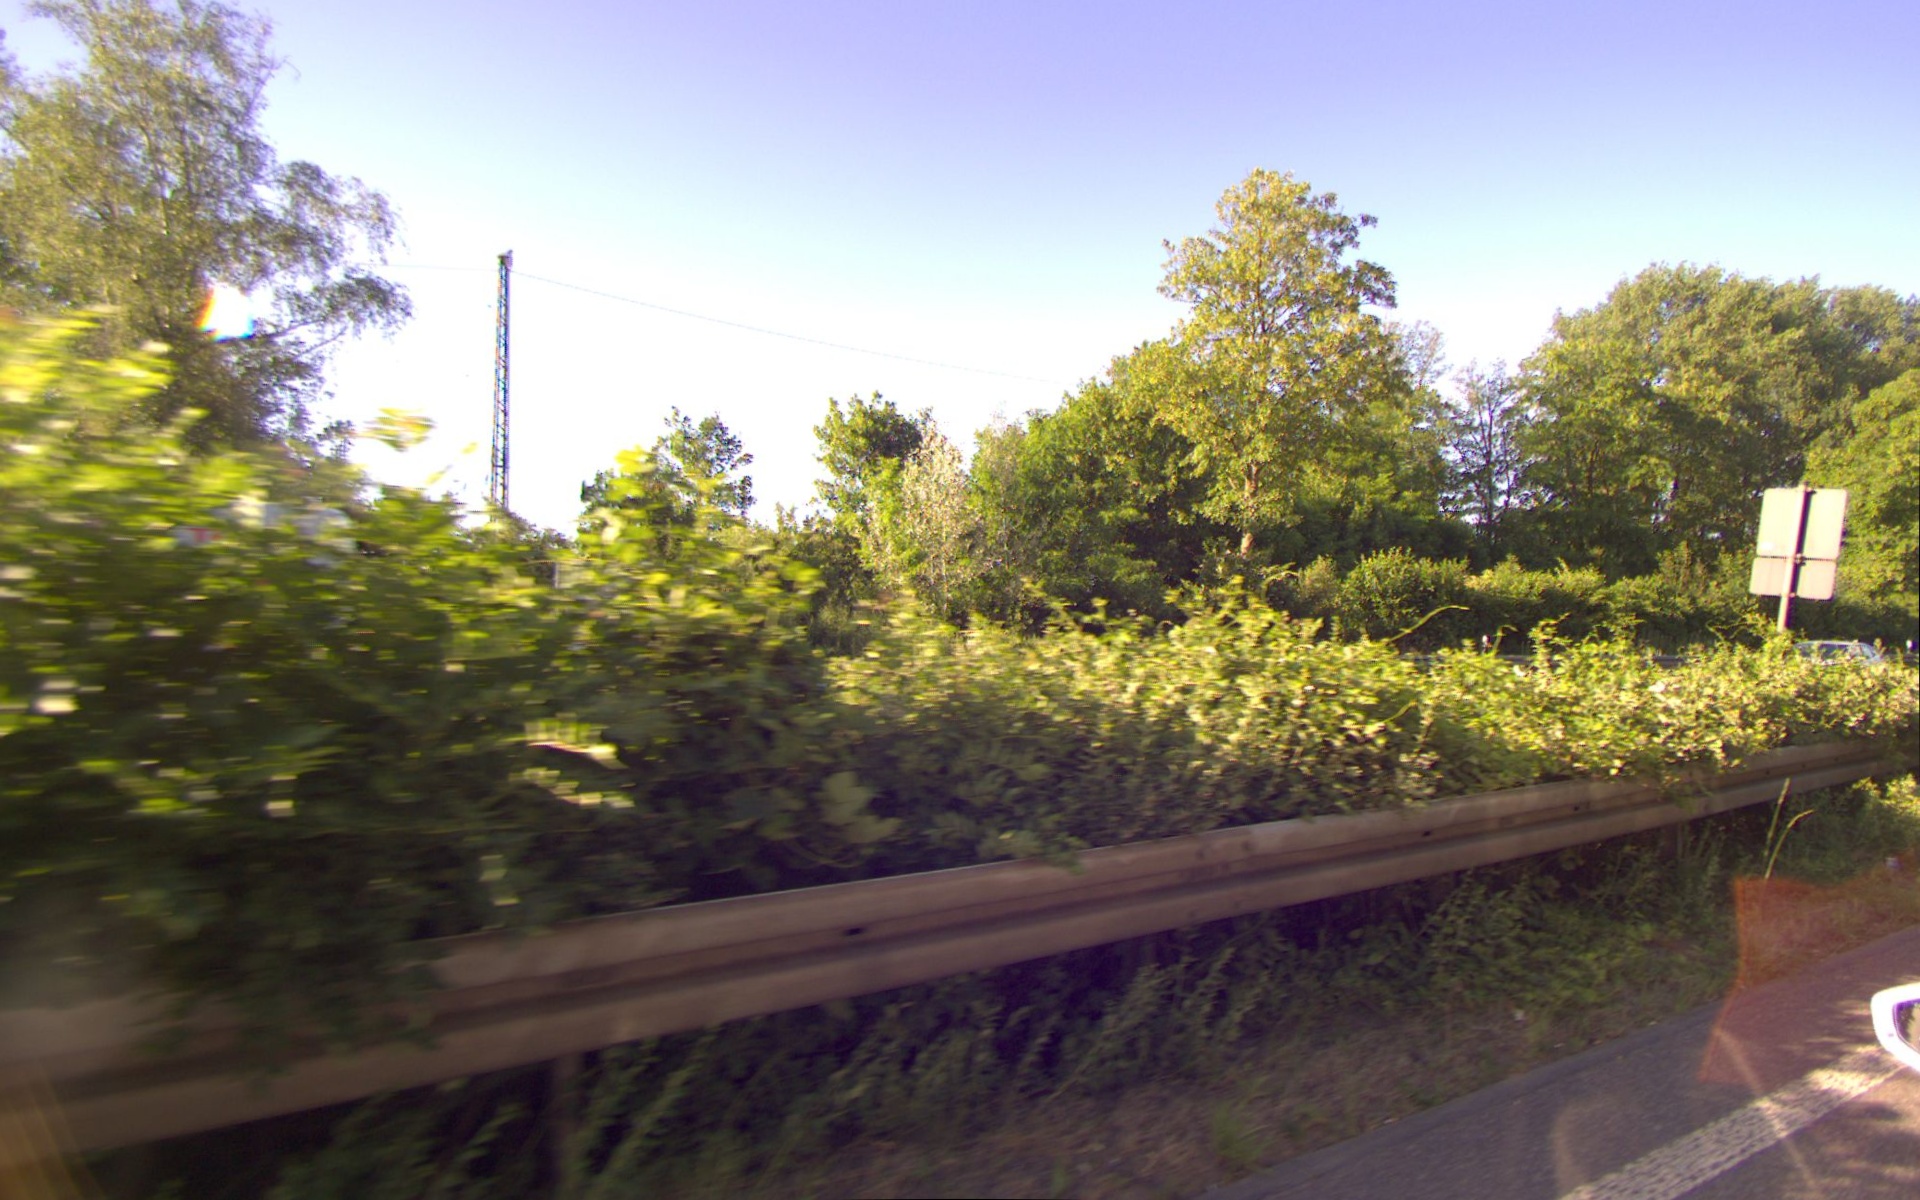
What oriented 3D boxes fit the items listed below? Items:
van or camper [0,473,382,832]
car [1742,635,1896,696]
[{"bbox_3d":[-7.940,0.414,8.536,5.192,2.758,1.984,1,-1,-30],"label":"van or camper"},{"bbox_3d":[23.570,1.741,27.533,4.276,1.469,1.951,1,0,-31],"label":"car"}]
